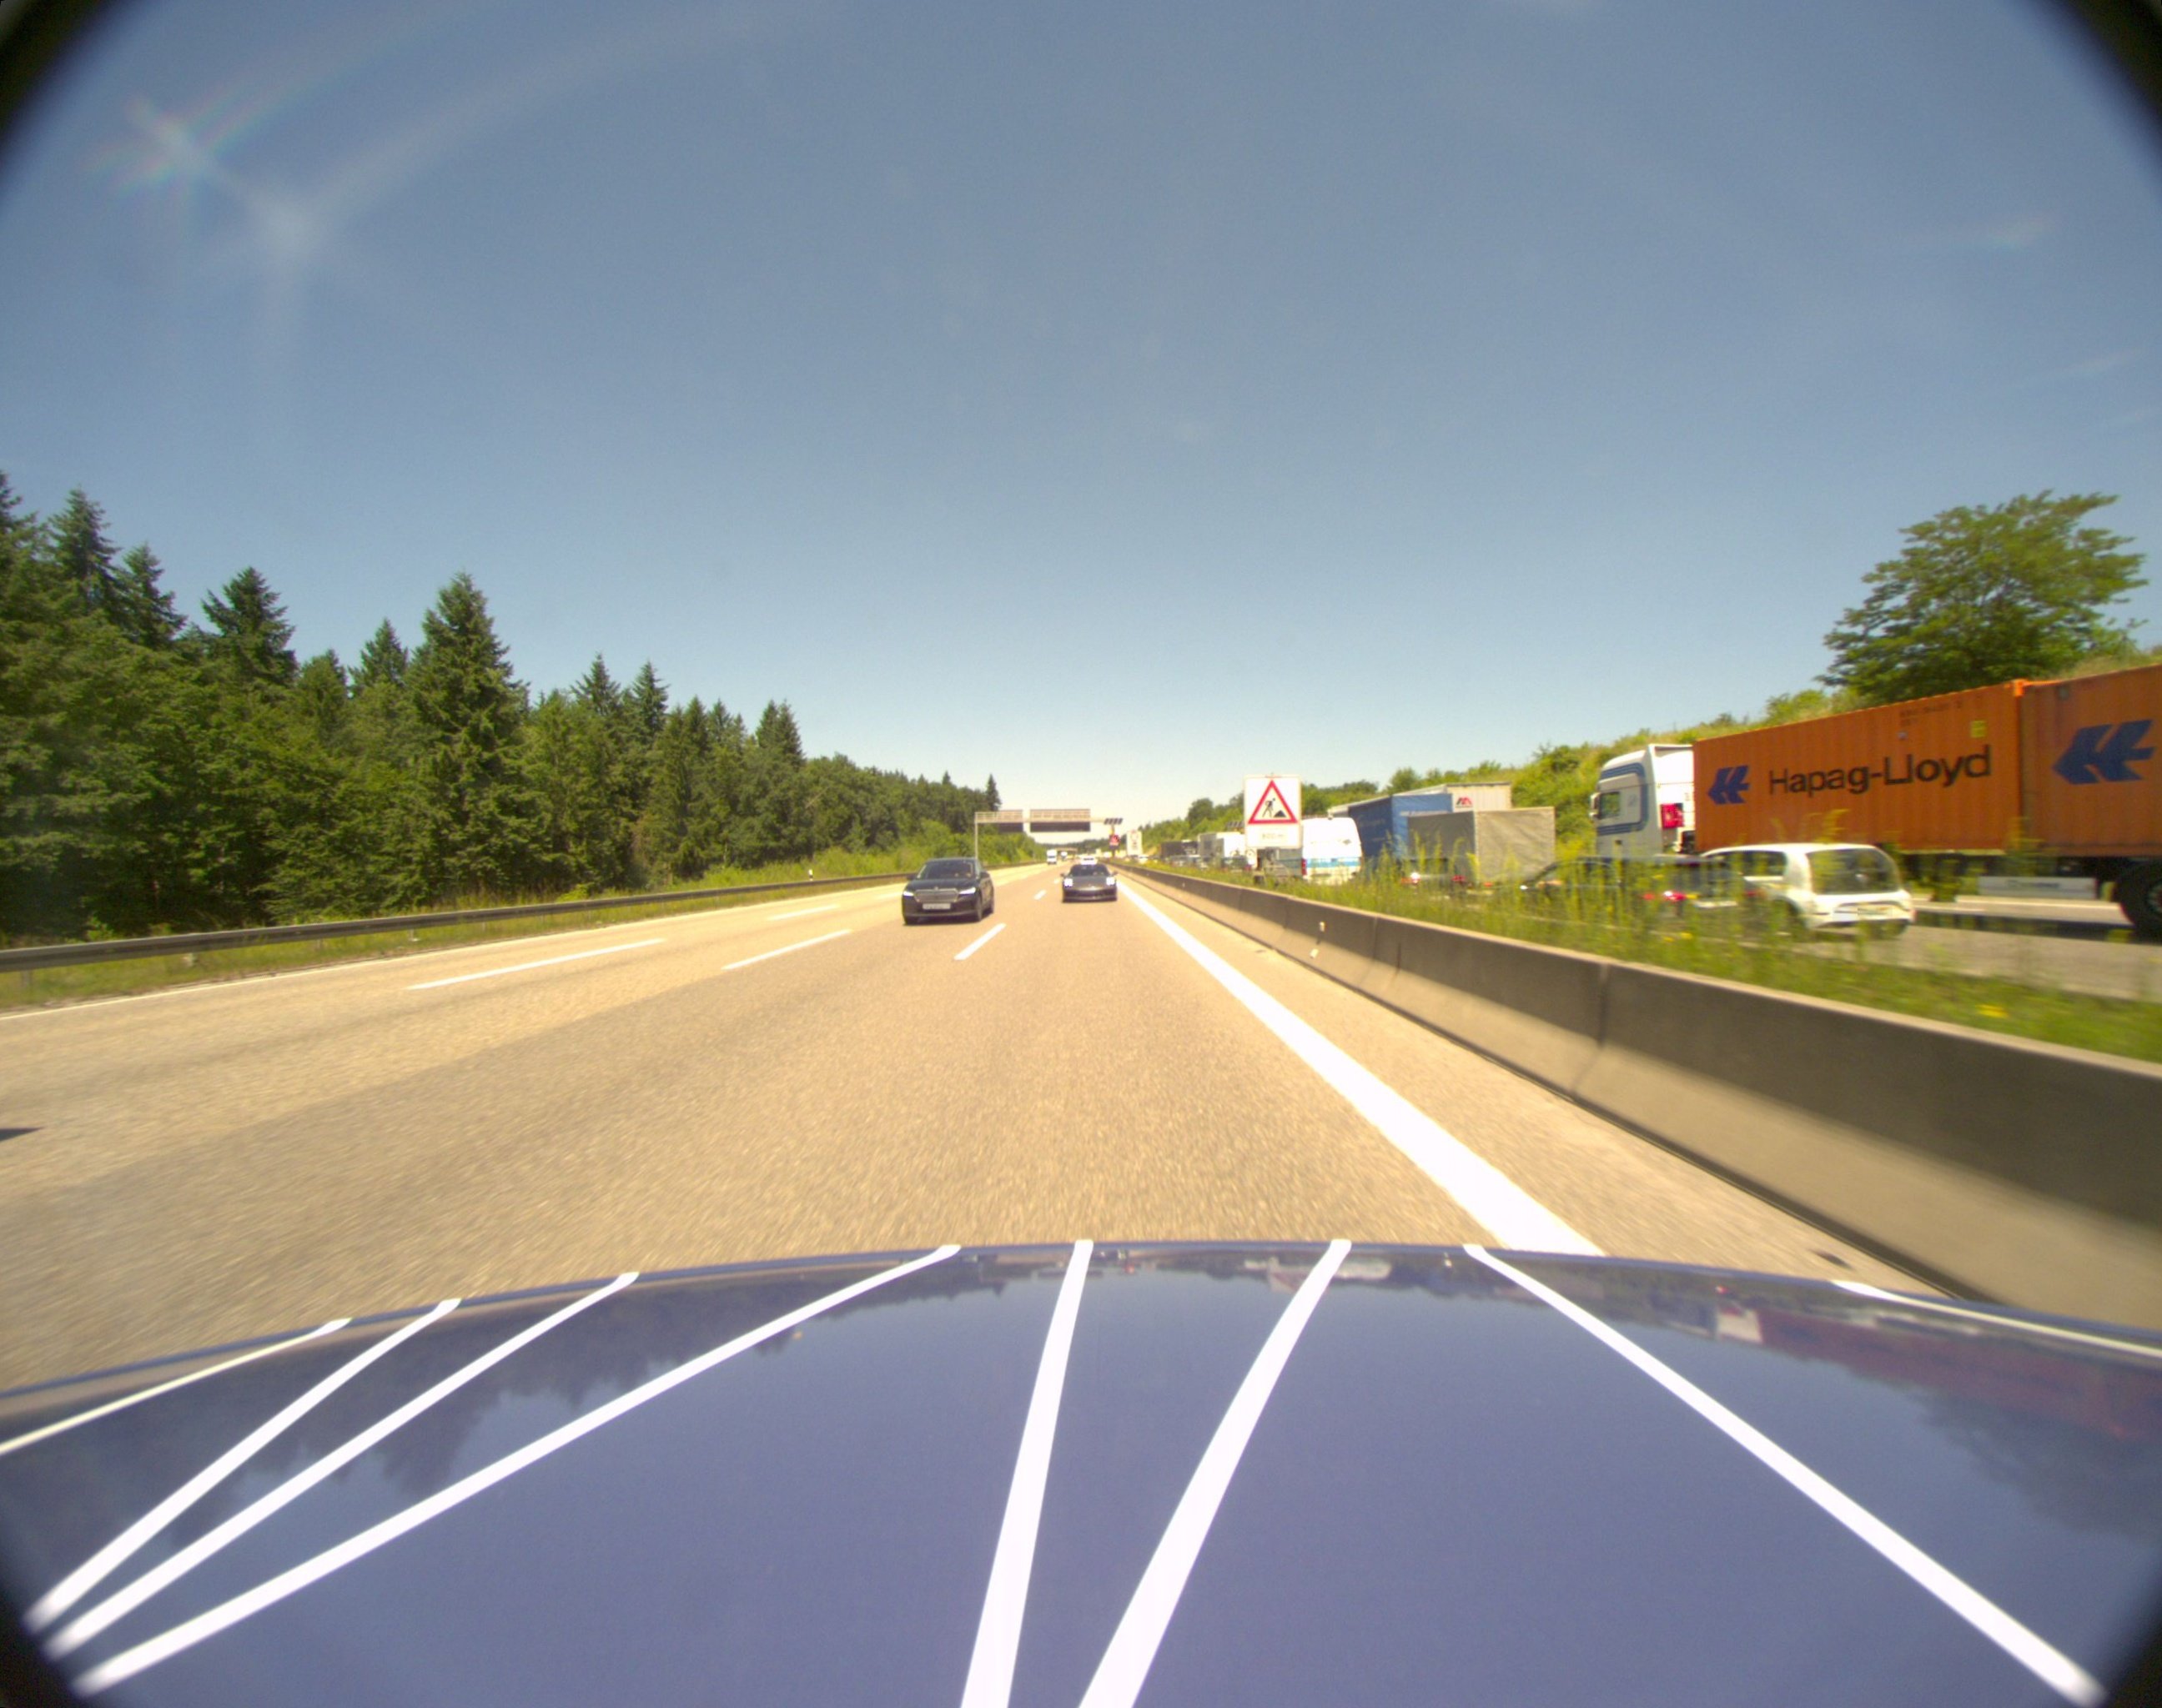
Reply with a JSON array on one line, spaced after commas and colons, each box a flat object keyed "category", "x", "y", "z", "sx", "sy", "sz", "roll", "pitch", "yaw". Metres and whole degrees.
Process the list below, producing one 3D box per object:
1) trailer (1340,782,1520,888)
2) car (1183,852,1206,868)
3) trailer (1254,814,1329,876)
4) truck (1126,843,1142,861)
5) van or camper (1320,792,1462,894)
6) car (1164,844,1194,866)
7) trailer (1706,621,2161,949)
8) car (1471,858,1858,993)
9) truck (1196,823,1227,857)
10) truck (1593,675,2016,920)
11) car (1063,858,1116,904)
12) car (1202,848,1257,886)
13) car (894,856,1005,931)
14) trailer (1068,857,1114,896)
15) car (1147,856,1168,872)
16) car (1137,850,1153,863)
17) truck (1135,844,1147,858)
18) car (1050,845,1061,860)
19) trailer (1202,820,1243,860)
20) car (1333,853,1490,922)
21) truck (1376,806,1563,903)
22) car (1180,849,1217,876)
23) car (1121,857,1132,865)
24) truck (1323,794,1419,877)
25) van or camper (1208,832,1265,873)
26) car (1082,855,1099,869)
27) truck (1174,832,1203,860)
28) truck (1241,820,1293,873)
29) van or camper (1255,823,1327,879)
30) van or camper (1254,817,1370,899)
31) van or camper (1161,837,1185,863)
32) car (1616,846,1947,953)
[{"category": "trailer", "x": 15.542, "y": -0.792, "z": 35.442, "sx": 2.788, "sy": 4.010, "sz": 12.249, "roll": -2, "pitch": 1, "yaw": 1}, {"category": "car", "x": 12.464, "y": 0.654, "z": 83.584, "sx": 1.816, "sy": 1.534, "sz": 4.997, "roll": -2, "pitch": 1, "yaw": 1}, {"category": "trailer", "x": 15.844, "y": -0.680, "z": 58.163, "sx": 2.796, "sy": 4.216, "sz": 10.791, "roll": -2, "pitch": 1, "yaw": 1}, {"category": "truck", "x": 8.585, "y": -0.386, "z": 122.987, "sx": 2.125, "sy": 2.825, "sz": 6.211, "roll": -2, "pitch": 1, "yaw": 1}, {"category": "van or camper", "x": 11.620, "y": -0.411, "z": 29.376, "sx": 2.318, "sy": 3.370, "sz": 7.679, "roll": -1, "pitch": 1, "yaw": 0}, {"category": "car", "x": 8.387, "y": 0.058, "z": 65.343, "sx": 1.816, "sy": 1.799, "sz": 5.542, "roll": -2, "pitch": 1, "yaw": 1}, {"category": "trailer", "x": 15.481, "y": -0.959, "z": 11.183, "sx": 2.618, "sy": 4.285, "sz": 11.999, "roll": -2, "pitch": 1, "yaw": 0}, {"category": "car", "x": 7.766, "y": 0.808, "z": 10.917, "sx": 1.823, "sy": 1.400, "sz": 4.882, "roll": -1, "pitch": 1, "yaw": 0}, {"category": "truck", "x": 16.632, "y": -1.772, "z": 97.093, "sx": 2.788, "sy": 4.090, "sz": 7.029, "roll": -1, "pitch": 1, "yaw": 1}, {"category": "truck", "x": 15.481, "y": -1.048, "z": 17.318, "sx": 2.596, "sy": 4.301, "sz": 7.292, "roll": -2, "pitch": 1, "yaw": 0}, {"category": "car", "x": 0.330, "y": 0.890, "z": 27.021, "sx": 1.718, "sy": 1.432, "sz": 4.457, "roll": -1, "pitch": 1, "yaw": 1}, {"category": "car", "x": 7.456, "y": 0.616, "z": 38.672, "sx": 1.816, "sy": 1.720, "sz": 4.934, "roll": -2, "pitch": 1, "yaw": 1}, {"category": "car", "x": -3.333, "y": 0.941, "z": 20.160, "sx": 1.989, "sy": 1.610, "sz": 4.457, "roll": -3, "pitch": 1, "yaw": 1}, {"category": "trailer", "x": 0.388, "y": 0.875, "z": 30.290, "sx": 1.689, "sy": 1.399, "sz": 3.046, "roll": -2, "pitch": 0, "yaw": 1}, {"category": "car", "x": 8.593, "y": 1.134, "z": 85.525, "sx": 1.816, "sy": 1.624, "sz": 5.029, "roll": -2, "pitch": 1, "yaw": 1}, {"category": "car", "x": 8.571, "y": 0.314, "z": 102.356, "sx": 1.816, "sy": 1.624, "sz": 5.029, "roll": -2, "pitch": 1, "yaw": 1}, {"category": "truck", "x": 17.440, "y": -1.032, "z": 221.735, "sx": 2.632, "sy": 3.875, "sz": 8.954, "roll": -2, "pitch": 1, "yaw": 1}, {"category": "car", "x": -5.927, "y": -0.330, "z": 178.970, "sx": 2.303, "sy": 3.317, "sz": 7.620, "roll": -2, "pitch": 1, "yaw": -1}, {"category": "trailer", "x": 16.510, "y": -1.615, "z": 89.437, "sx": 2.788, "sy": 4.280, "sz": 11.709, "roll": -1, "pitch": 1, "yaw": 1}, {"category": "car", "x": 7.871, "y": 0.730, "z": 18.602, "sx": 1.906, "sy": 1.400, "sz": 4.430, "roll": -1, "pitch": 1, "yaw": 0}, {"category": "truck", "x": 11.594, "y": -0.022, "z": 23.485, "sx": 2.240, "sy": 2.491, "sz": 6.861, "roll": -1, "pitch": 1, "yaw": 0}, {"category": "car", "x": 8.150, "y": 0.565, "z": 53.094, "sx": 1.816, "sy": 1.720, "sz": 4.972, "roll": -2, "pitch": 1, "yaw": 1}, {"category": "car", "x": 8.833, "y": 1.336, "z": 146.990, "sx": 1.816, "sy": 1.504, "sz": 5.029, "roll": -2, "pitch": 1, "yaw": 1}, {"category": "truck", "x": 15.621, "y": -0.967, "z": 41.414, "sx": 2.808, "sy": 4.104, "sz": 6.140, "roll": -2, "pitch": 1, "yaw": 1}, {"category": "van or camper", "x": 12.152, "y": -0.142, "z": 60.166, "sx": 2.848, "sy": 2.931, "sz": 8.112, "roll": -2, "pitch": 1, "yaw": 1}, {"category": "car", "x": 1.018, "y": 0.848, "z": 84.482, "sx": 1.719, "sy": 1.432, "sz": 4.456, "roll": -1, "pitch": 1, "yaw": -1}, {"category": "truck", "x": 17.058, "y": -1.313, "z": 121.315, "sx": 3.064, "sy": 4.197, "sz": 11.486, "roll": -2, "pitch": 1, "yaw": 0}, {"category": "truck", "x": 15.966, "y": -0.627, "z": 65.771, "sx": 2.788, "sy": 4.280, "sz": 7.028, "roll": -1, "pitch": 1, "yaw": 1}, {"category": "van or camper", "x": 12.004, "y": -0.188, "z": 44.041, "sx": 2.156, "sy": 2.906, "sz": 7.223, "roll": -2, "pitch": 1, "yaw": 1}, {"category": "van or camper", "x": 8.015, "y": 0.103, "z": 27.154, "sx": 2.198, "sy": 2.526, "sz": 6.415, "roll": -1, "pitch": 1, "yaw": 0}, {"category": "van or camper", "x": 12.842, "y": -0.574, "z": 106.478, "sx": 2.535, "sy": 3.340, "sz": 7.943, "roll": -2, "pitch": 1, "yaw": 2}, {"category": "car", "x": 11.233, "y": 0.611, "z": 12.665, "sx": 1.735, "sy": 1.457, "sz": 4.113, "roll": -1, "pitch": 1, "yaw": 0}]
